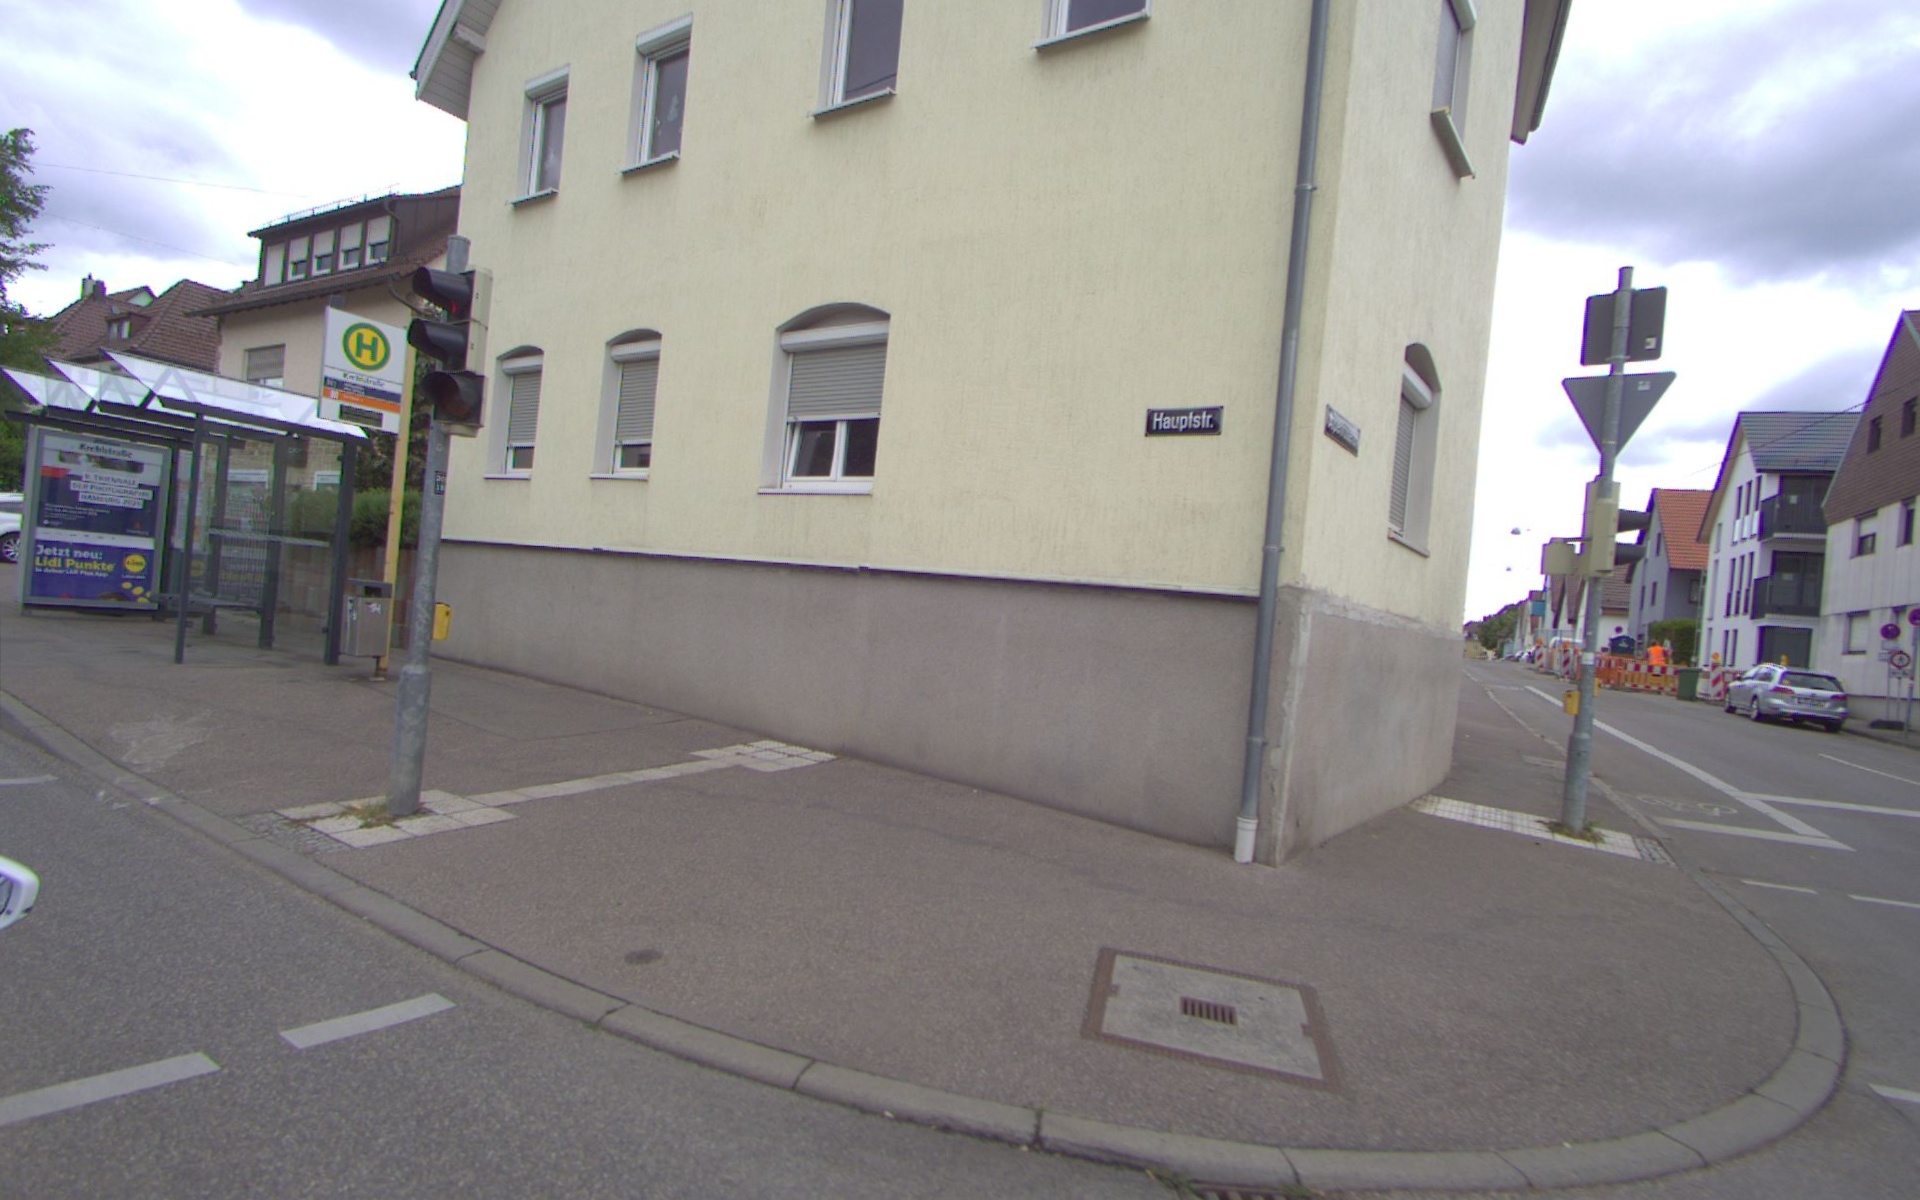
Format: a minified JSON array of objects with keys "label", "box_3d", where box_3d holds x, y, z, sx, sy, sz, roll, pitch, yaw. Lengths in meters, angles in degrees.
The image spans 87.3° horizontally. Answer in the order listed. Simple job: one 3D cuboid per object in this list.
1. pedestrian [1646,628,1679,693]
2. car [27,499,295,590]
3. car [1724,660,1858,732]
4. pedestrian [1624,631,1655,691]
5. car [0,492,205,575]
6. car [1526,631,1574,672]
[{"label":"pedestrian","box_3d":[24.579,2.113,35.207,0.589,2.200,0.674,6,2,23]},{"label":"car","box_3d":[-15.660,-1.037,19.925,1.613,1.420,3.805,5,1,31]},{"label":"car","box_3d":[21.195,2.391,25.832,1.697,1.427,3.993,6,1,27]},{"label":"pedestrian","box_3d":[23.974,2.141,35.510,0.589,2.040,0.674,6,2,23]},{"label":"car","box_3d":[-19.984,-1.506,22.640,1.836,1.507,4.418,5,1,35]},{"label":"car","box_3d":[34.520,3.050,58.966,1.965,2.037,3.998,5,-2,27]}]
